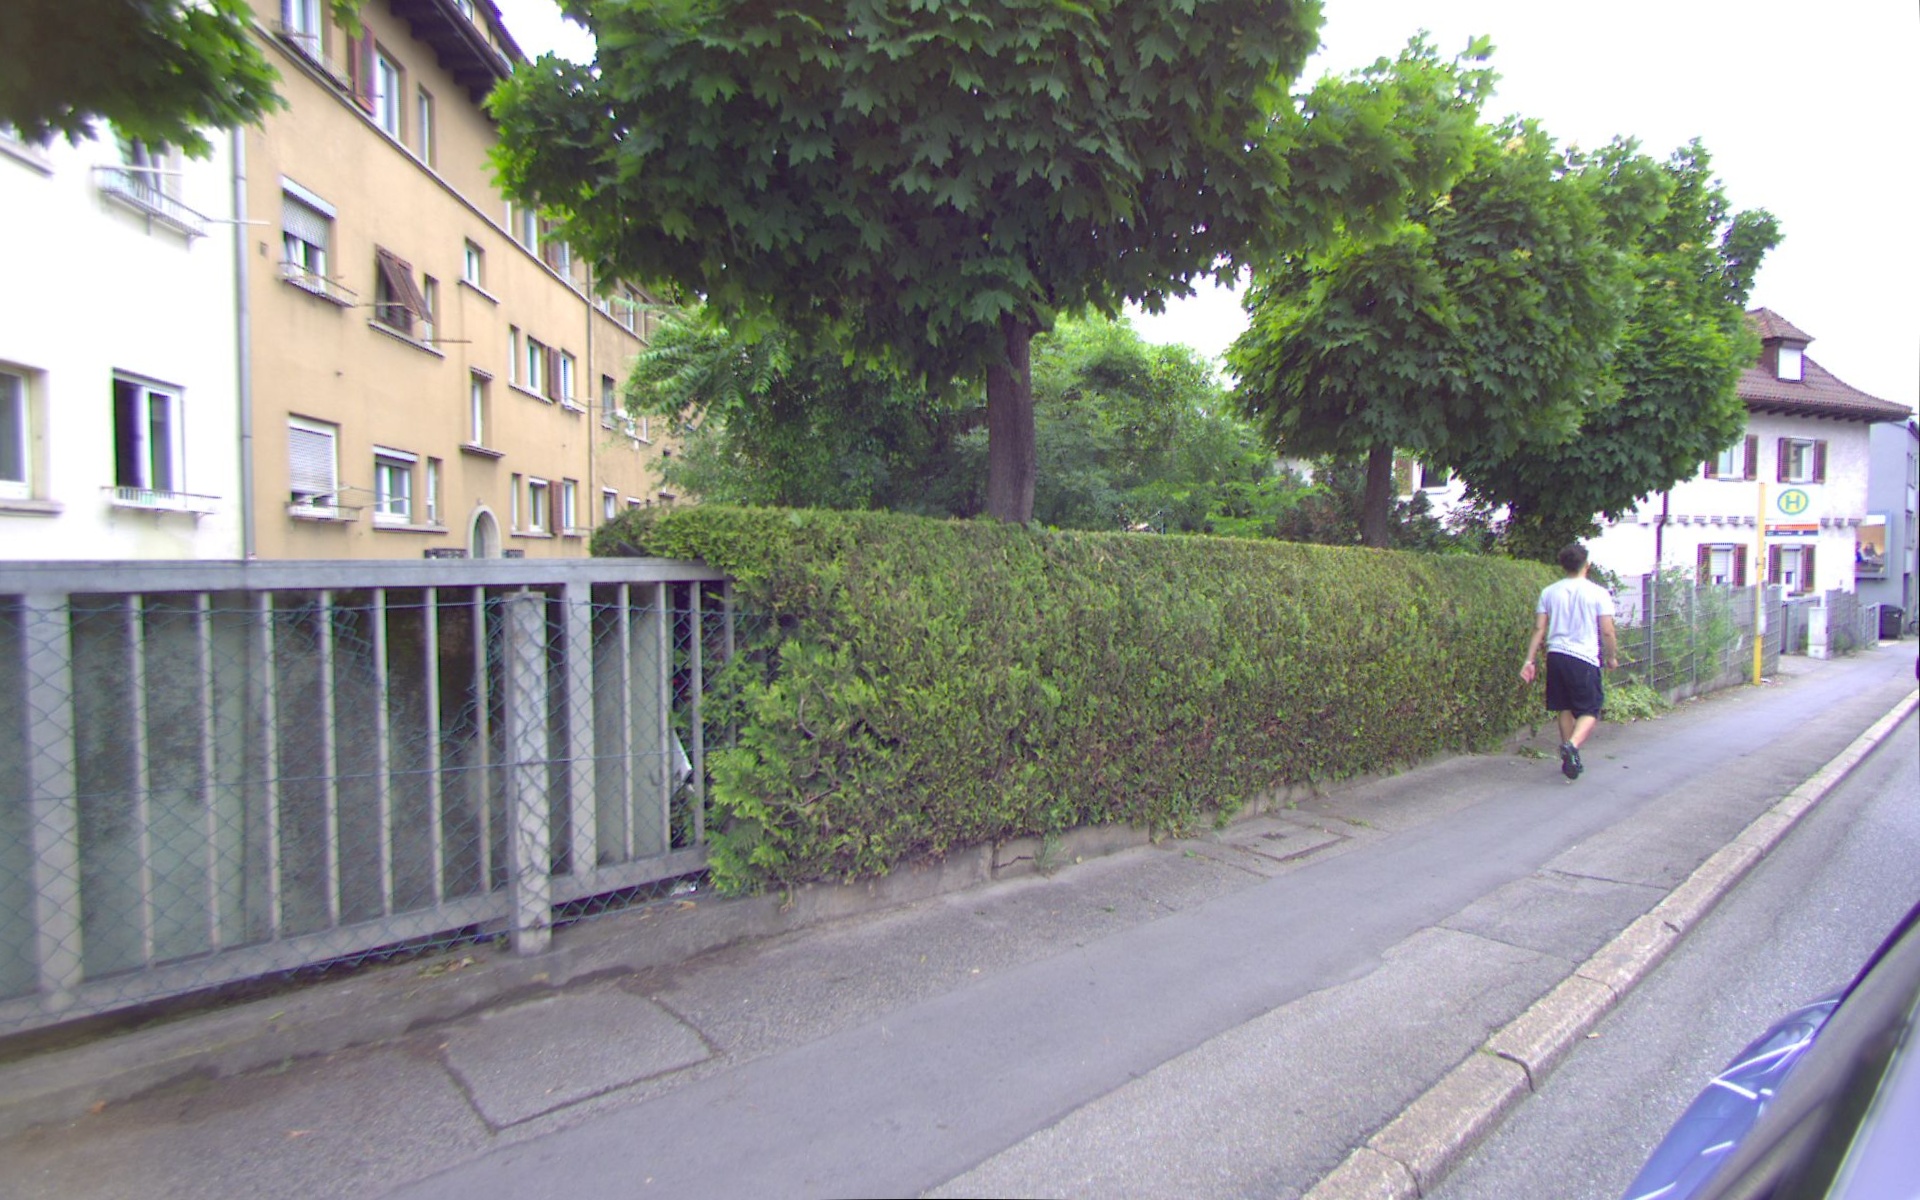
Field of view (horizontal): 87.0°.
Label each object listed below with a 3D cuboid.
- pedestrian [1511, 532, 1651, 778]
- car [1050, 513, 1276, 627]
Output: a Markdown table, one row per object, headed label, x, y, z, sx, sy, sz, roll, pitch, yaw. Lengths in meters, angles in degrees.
| label | x | y | z | sx | sy | sz | roll | pitch | yaw |
| --- | --- | --- | --- | --- | --- | --- | --- | --- | --- |
| pedestrian | 4.705 | 0.381 | 7.689 | 0.459 | 1.758 | 0.695 | 0 | 4 | -42 |
| car | 3.863 | -0.569 | 19.773 | 3.923 | 2.039 | 2.001 | 1 | 1 | -1 |
